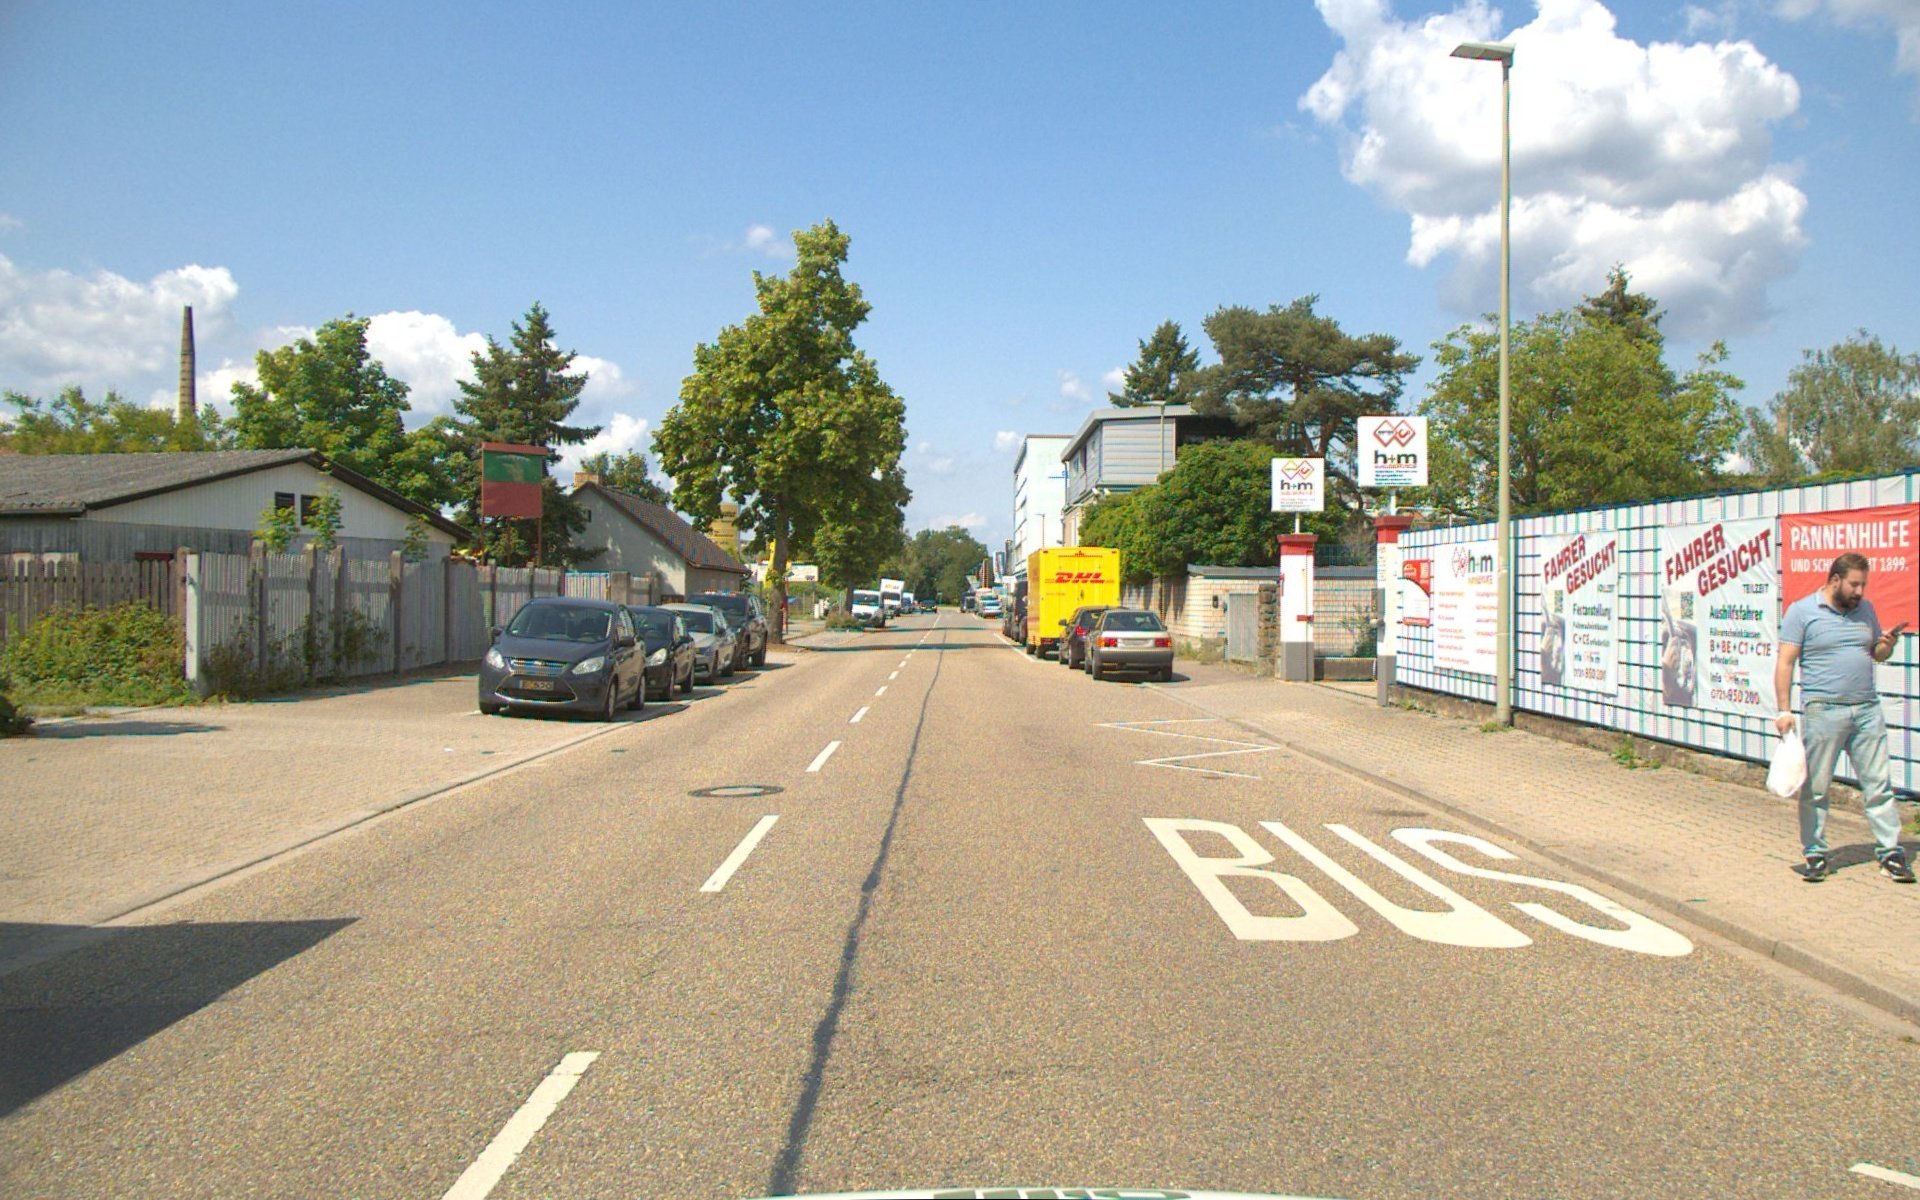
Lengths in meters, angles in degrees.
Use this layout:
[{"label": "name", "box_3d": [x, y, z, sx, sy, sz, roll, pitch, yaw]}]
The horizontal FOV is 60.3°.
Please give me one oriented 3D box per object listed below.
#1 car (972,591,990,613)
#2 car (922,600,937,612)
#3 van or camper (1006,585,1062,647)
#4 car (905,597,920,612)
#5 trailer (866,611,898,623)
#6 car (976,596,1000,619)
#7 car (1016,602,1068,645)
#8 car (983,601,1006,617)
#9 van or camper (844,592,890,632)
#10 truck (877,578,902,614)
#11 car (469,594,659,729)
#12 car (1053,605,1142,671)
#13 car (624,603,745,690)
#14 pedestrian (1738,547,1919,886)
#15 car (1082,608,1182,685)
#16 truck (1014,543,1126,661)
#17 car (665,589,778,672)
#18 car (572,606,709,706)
[{"label": "car", "box_3d": [2.065, 0.201, 162.981, 1.672, 2.126, 3.999, 0, 0, -1]}, {"label": "car", "box_3d": [-3.425, 0.697, 187.860, 1.621, 1.348, 4.416, 0, 0, 0]}, {"label": "van or camper", "box_3d": [2.927, 0.616, 66.476, 1.953, 2.331, 5.447, 2, 0, 0]}, {"label": "car", "box_3d": [-5.503, 0.477, 190.949, 1.678, 1.679, 4.000, 0, 0, 0]}, {"label": "trailer", "box_3d": [-6.403, 1.389, 136.294, 2.368, 0.828, 5.537, 2, 0, 0]}, {"label": "car", "box_3d": [2.551, 0.688, 152.131, 2.171, 2.049, 5.484, 0, 0, 0]}, {"label": "car", "box_3d": [2.970, 0.836, 60.574, 1.647, 1.467, 4.766, 1, 0, 0]}, {"label": "car", "box_3d": [2.878, 0.740, 138.577, 1.889, 1.333, 4.000, 0, 0, 0]}, {"label": "van or camper", "box_3d": [-5.893, 0.759, 106.083, 2.128, 2.455, 7.700, 0, 0, 3]}, {"label": "truck", "box_3d": [-6.385, -0.344, 150.468, 1.988, 3.209, 6.499, 0, 0, 0]}, {"label": "car", "box_3d": [-5.505, 0.795, 23.513, 1.690, 1.632, 4.412, 3, 0, -2]}, {"label": "car", "box_3d": [3.217, 0.861, 39.348, 1.628, 1.466, 4.282, 0, 0, -2]}, {"label": "car", "box_3d": [-5.592, 0.902, 34.096, 1.698, 1.544, 4.741, 2, 0, -1]}, {"label": "pedestrian", "box_3d": [4.785, 0.611, 9.002, 0.702, 1.726, 0.522, -5, 0, -5]}, {"label": "car", "box_3d": [3.529, 0.926, 34.605, 1.618, 1.411, 4.422, 1, 0, 0]}, {"label": "truck", "box_3d": [2.956, 0.063, 46.223, 2.424, 2.991, 7.186, 1, 0, -1]}, {"label": "car", "box_3d": [-5.627, 0.703, 39.659, 1.879, 1.854, 4.786, 0, 0, 2]}, {"label": "car", "box_3d": [-5.455, 0.913, 28.694, 1.595, 1.473, 4.025, 4, 0, -2]}]
